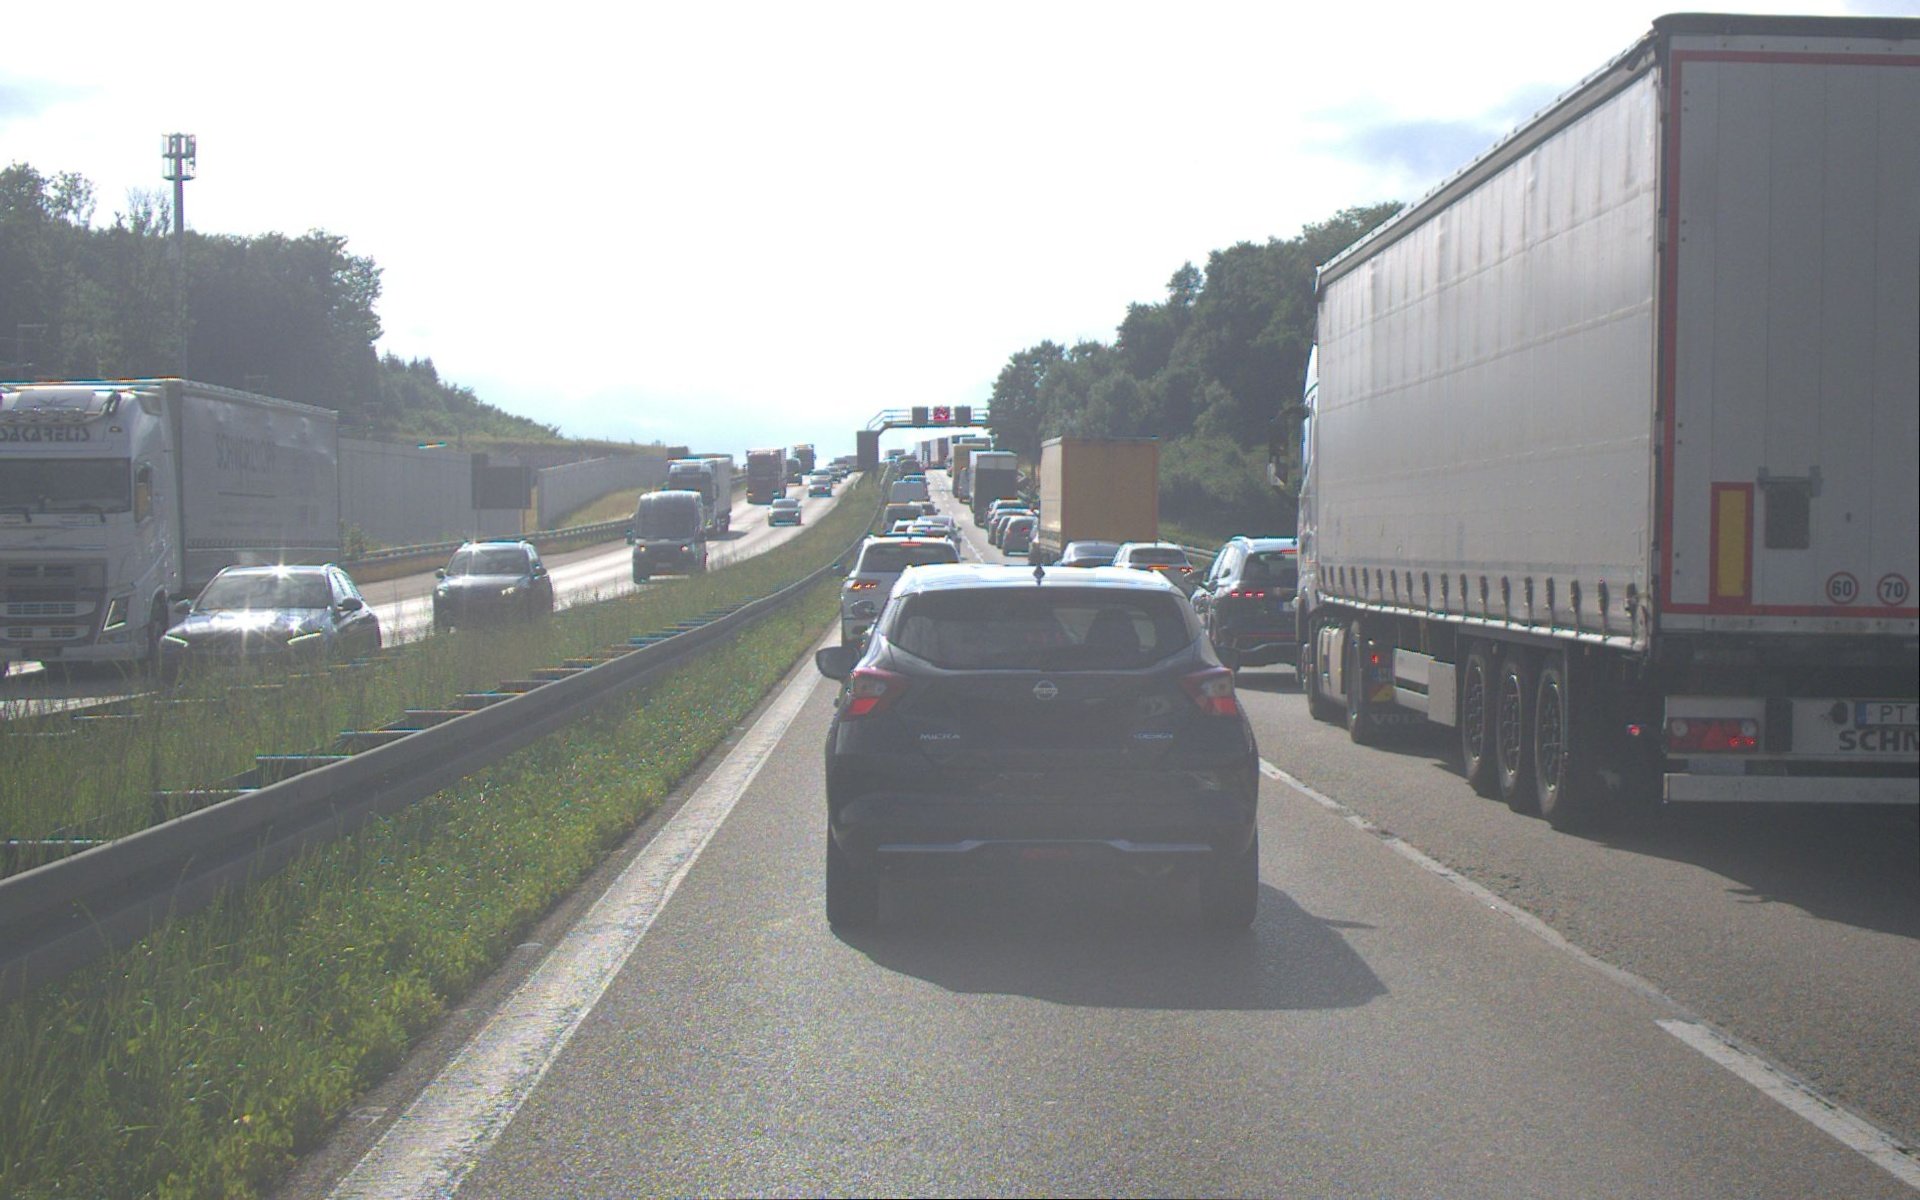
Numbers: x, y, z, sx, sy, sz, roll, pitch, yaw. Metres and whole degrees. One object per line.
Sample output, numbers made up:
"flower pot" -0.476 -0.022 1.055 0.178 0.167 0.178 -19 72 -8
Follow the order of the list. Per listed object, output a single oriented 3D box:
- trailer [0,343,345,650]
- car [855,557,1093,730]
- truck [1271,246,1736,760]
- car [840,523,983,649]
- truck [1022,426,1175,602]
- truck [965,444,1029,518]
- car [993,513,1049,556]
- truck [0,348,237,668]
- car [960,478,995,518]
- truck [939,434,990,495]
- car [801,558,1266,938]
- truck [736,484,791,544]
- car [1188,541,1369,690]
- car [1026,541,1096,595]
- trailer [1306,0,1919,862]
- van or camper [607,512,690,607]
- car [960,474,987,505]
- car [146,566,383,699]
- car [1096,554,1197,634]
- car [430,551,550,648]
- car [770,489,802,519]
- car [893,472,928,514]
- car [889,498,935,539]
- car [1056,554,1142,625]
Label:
"trailer" -11.959 -1.464 53.678 2.389 4.168 13.204 -1 0 0
"car" 0.091 0.327 29.217 1.873 1.353 4.232 0 0 0
"truck" 4.497 -0.751 29.550 3.133 4.002 5.163 1 0 0
"car" -0.652 -0.200 47.037 1.873 1.639 4.232 0 0 0
"truck" 3.727 -2.250 95.844 3.296 4.562 12.441 1 0 -2
"truck" 2.326 -7.613 220.791 3.464 4.561 12.443 1 2 -2
"car" 2.446 -2.661 138.229 1.873 1.638 4.233 0 2 -4
"truck" -11.910 -1.223 48.024 2.380 4.167 5.932 -1 0 -1
"car" 0.978 -5.814 195.497 1.873 2.151 5.212 0 3 -1
"truck" 0.288 -10.482 266.744 3.464 4.561 12.443 1 2 -2
"car" 0.263 0.546 15.245 1.773 1.446 4.232 0 0 0
"truck" -15.072 -6.602 264.880 3.297 4.539 12.441 0 1 1
"car" 3.597 0.149 39.467 1.697 1.605 4.437 0 0 1
"car" 3.113 -1.004 107.181 1.873 1.638 4.233 0 1 -2
"trailer" 4.508 -0.777 22.179 3.130 3.997 13.366 1 0 0
"van or camper" -9.616 -1.223 106.496 2.090 2.810 5.895 1 0 -1
"car" 0.989 -8.057 250.099 1.873 2.151 5.212 0 3 -1
"car" -7.451 0.317 37.194 1.742 1.353 4.232 0 0 0
"car" 3.925 -0.136 72.924 1.873 1.639 4.232 0 0 0
"car" -8.516 -0.026 62.516 1.708 1.700 4.174 0 0 -2
"car" -10.221 -5.631 202.125 1.744 1.700 4.232 -1 1 -2
"car" -2.702 -5.867 188.228 1.873 2.151 5.212 0 3 -1
"car" -2.023 -3.417 143.863 1.873 1.638 4.233 0 2 -2
"car" 3.324 -0.282 82.854 1.873 1.638 4.232 0 1 0
